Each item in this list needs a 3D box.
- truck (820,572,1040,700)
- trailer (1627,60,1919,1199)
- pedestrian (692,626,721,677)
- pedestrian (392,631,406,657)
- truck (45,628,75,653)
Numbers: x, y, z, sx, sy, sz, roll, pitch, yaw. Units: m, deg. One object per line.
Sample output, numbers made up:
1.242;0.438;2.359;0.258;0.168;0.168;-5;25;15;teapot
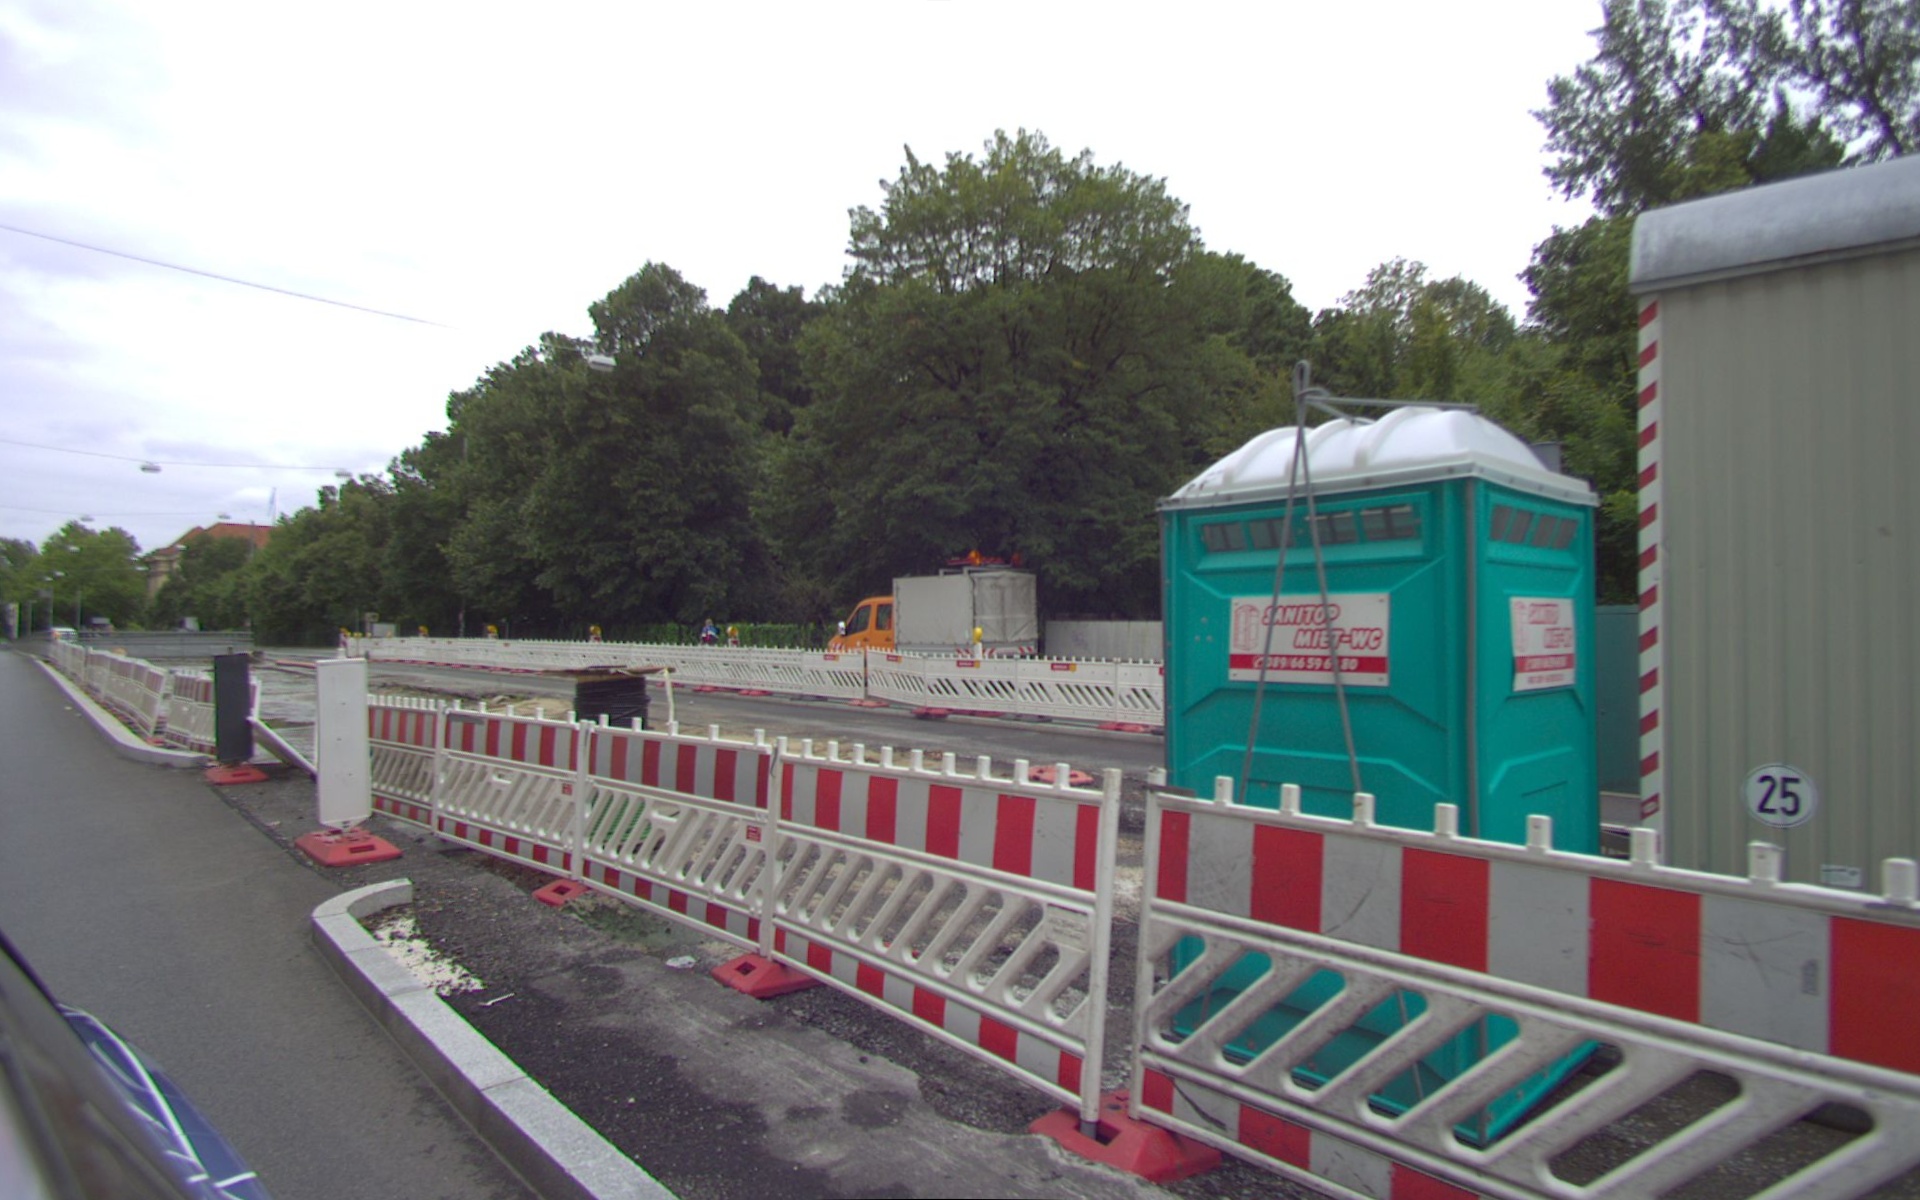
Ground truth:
-0.886;0.879;24.614;1.970;2.749;5.875;2;-3;-43;truck
5.775;0.036;1.700;7.516;3.268;2.203;-2;-3;41;trailer
-8.122;1.632;32.450;0.655;1.615;0.699;1;-3;-43;pedestrian
-35.820;2.805;64.633;0.655;1.653;0.699;1;-3;-43;pedestrian
-94.430;4.241;106.188;4.414;2.661;2.029;-2;-3;45;truck
